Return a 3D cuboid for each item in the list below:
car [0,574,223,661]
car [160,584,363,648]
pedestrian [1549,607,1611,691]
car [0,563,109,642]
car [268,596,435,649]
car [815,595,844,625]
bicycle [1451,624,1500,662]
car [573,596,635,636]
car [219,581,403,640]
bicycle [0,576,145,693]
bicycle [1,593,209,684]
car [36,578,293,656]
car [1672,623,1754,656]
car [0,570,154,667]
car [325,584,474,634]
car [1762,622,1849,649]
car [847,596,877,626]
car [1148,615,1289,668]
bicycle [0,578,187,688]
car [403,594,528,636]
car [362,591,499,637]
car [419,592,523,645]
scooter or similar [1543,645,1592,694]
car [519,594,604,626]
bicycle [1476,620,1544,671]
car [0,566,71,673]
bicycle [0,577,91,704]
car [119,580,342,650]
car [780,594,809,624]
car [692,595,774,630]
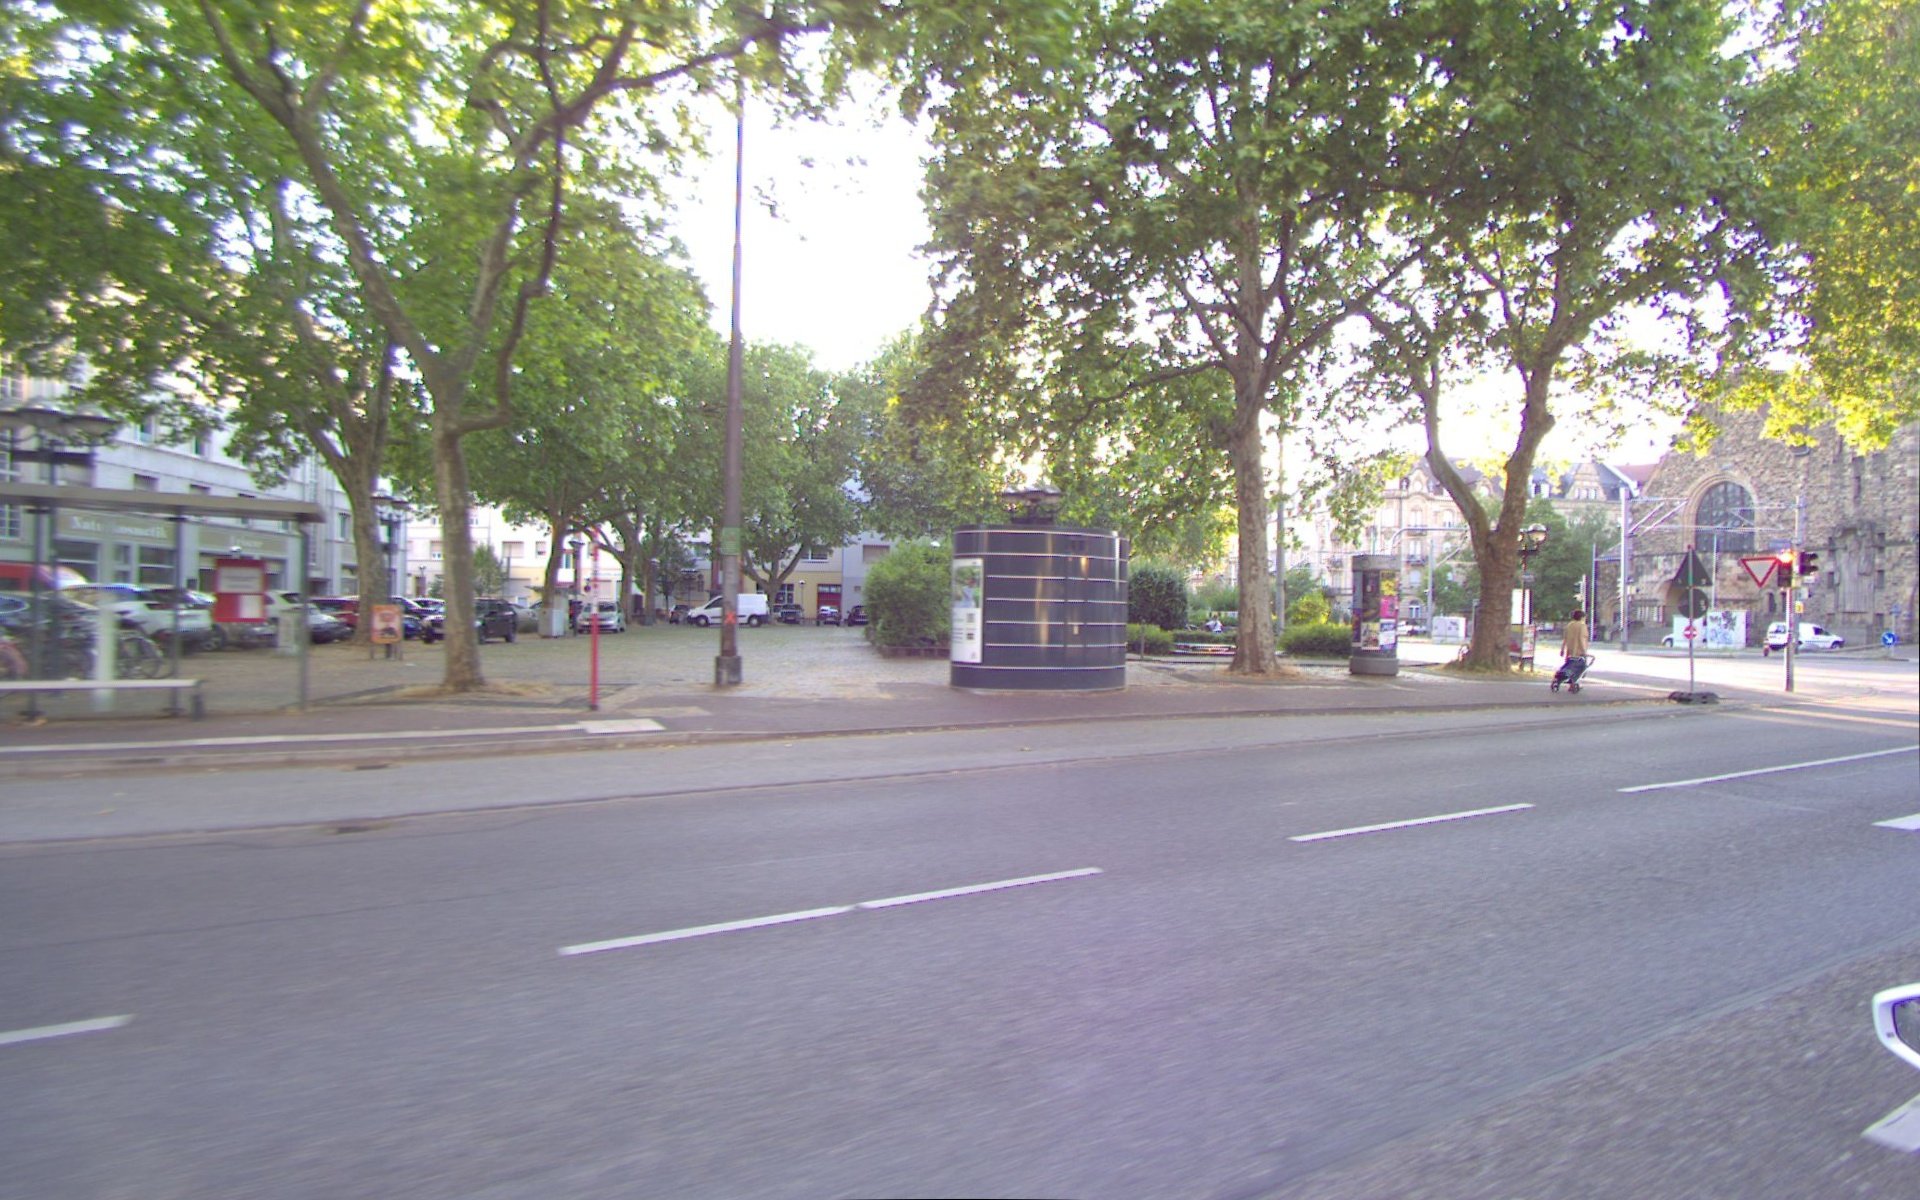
[{"bbox_3d":[-19.297,0.390,22.073,4.557,1.805,1.997,0,-1,-10],"label":"car"},{"bbox_3d":[-20.764,0.468,30.055,4.557,1.805,1.997,0,-1,-10],"label":"car"},{"bbox_3d":[12.676,0.989,20.545,0.766,1.649,0.796,2,0,-35],"label":"pedestrian"},{"bbox_3d":[-31.838,0.048,33.656,4.555,2.474,1.998,3,-2,-7],"label":"car"},{"bbox_3d":[-21.127,0.788,35.053,4.557,1.758,1.997,0,-1,-10],"label":"car"},{"bbox_3d":[-9.599,0.705,73.638,1.963,2.040,3.994,2,0,-8],"label":"car"},{"bbox_3d":[15.577,1.311,30.331,1.779,1.107,0.455,2,0,-33],"label":"bicycle"},{"bbox_3d":[-16.129,0.704,45.697,1.642,1.684,3.760,2,0,-4],"label":"car"},{"bbox_3d":[-20.810,0.357,32.411,4.557,1.805,1.997,0,-1,-10],"label":"car"},{"bbox_3d":[-13.816,0.487,14.854,2.693,1.636,0.809,2,0,-5],"label":"bicycle"},{"bbox_3d":[-14.238,0.632,16.783,2.693,1.402,0.691,2,0,-5],"label":"bicycle"},{"bbox_3d":[-19.492,0.417,24.841,4.557,1.805,1.997,0,-1,-10],"label":"car"},{"bbox_3d":[44.113,2.284,58.956,1.960,1.706,4.002,2,0,4],"label":"car"},{"bbox_3d":[-18.983,0.379,19.670,4.557,1.805,1.997,0,-1,-10],"label":"car"},{"bbox_3d":[-21.453,0.355,38.635,4.557,1.805,2.090,0,-1,-10],"label":"car"},{"bbox_3d":[54.648,2.267,64.924,4.372,1.537,1.718,2,0,-6],"label":"car"},{"bbox_3d":[-7.286,0.791,74.169,1.963,2.040,3.994,2,0,-8],"label":"car"},{"bbox_3d":[9.400,1.494,36.739,4.552,1.805,1.999,-1,-1,-5],"label":"car"},{"bbox_3d":[-13.990,0.511,15.929,2.693,1.636,0.809,2,0,-5],"label":"bicycle"},{"bbox_3d":[-21.843,0.663,44.531,4.557,1.758,1.997,0,-1,-10],"label":"car"},{"bbox_3d":[-21.640,0.574,41.224,4.557,1.805,1.997,0,-1,-10],"label":"car"},{"bbox_3d":[-15.579,0.606,32.215,1.642,1.549,3.760,2,-1,-4],"label":"car"},{"bbox_3d":[12.051,1.360,19.925,0.845,0.910,0.586,2,0,-40],"label":"scooter or similar"},{"bbox_3d":[-23.538,0.602,59.534,4.578,1.834,1.992,0,-1,-20],"label":"car"},{"bbox_3d":[14.958,1.247,27.304,1.967,1.344,0.523,2,0,-26],"label":"bicycle"},{"bbox_3d":[-18.647,0.366,17.335,4.557,1.805,1.997,0,-1,-10],"label":"car"},{"bbox_3d":[-13.341,0.501,13.413,2.693,1.636,0.691,2,0,-5],"label":"bicycle"},{"bbox_3d":[-20.046,0.409,27.812,4.557,1.805,1.997,0,-1,-10],"label":"car"},{"bbox_3d":[-12.047,0.614,73.233,1.963,2.040,3.994,2,0,-8],"label":"car"},{"bbox_3d":[-13.175,0.716,58.552,4.557,1.964,1.997,0,-1,-10],"label":"car"}]
